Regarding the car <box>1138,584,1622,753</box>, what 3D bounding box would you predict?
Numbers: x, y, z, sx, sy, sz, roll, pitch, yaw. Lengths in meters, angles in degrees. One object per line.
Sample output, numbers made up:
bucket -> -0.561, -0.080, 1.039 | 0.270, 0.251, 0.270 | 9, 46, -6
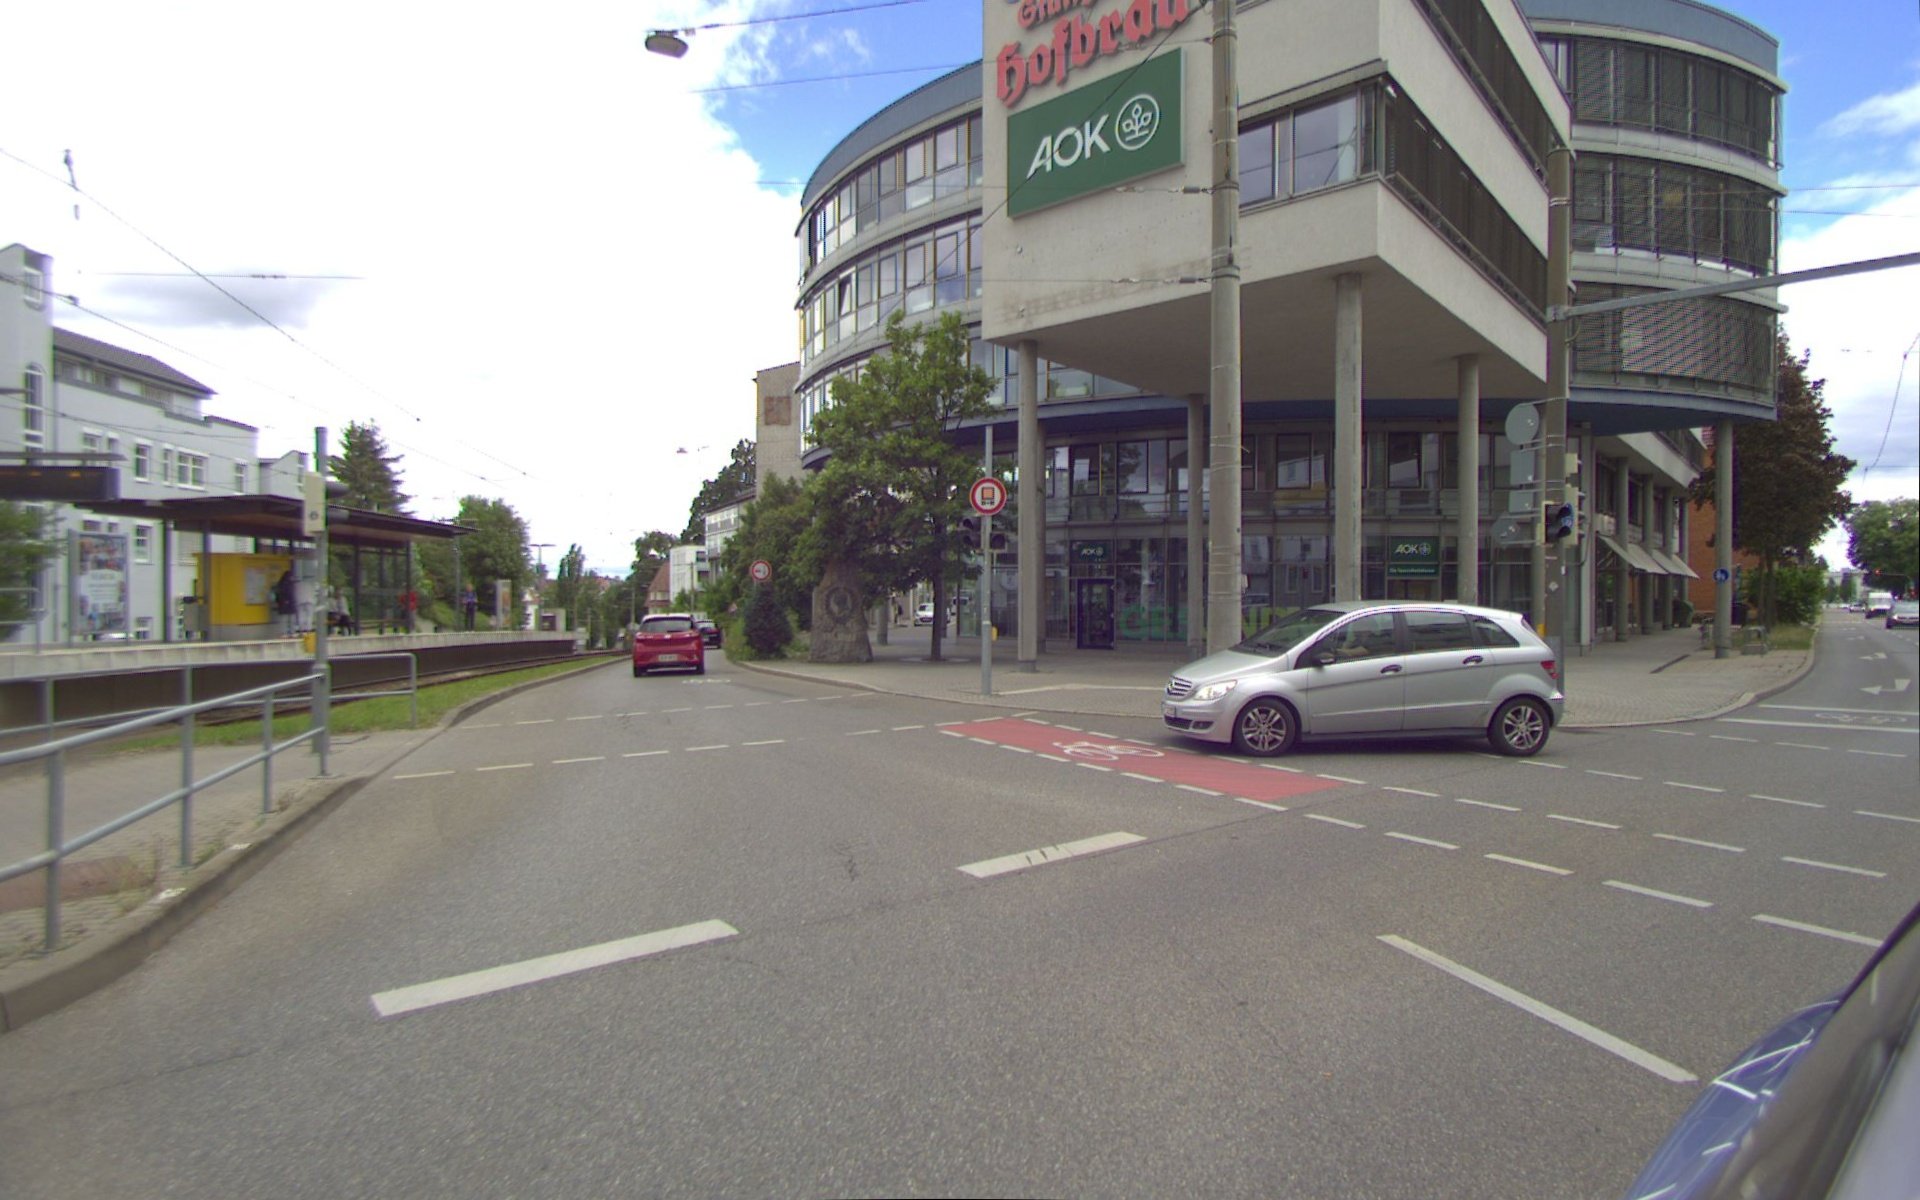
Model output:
car -> 4.466, 0.696, 11.251 | 4.480, 1.566, 2.001 | -2, -1, -4

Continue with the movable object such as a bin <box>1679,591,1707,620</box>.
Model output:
movable object such as a bin -> 39.858, 0.283, 55.029 | 1.120, 1.484, 1.314 | 2, 2, 40

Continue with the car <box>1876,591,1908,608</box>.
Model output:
car -> 90.533, -0.086, 98.351 | 1.957, 1.545, 4.507 | 1, 1, 39

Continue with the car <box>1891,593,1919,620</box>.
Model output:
car -> 56.227, 0.346, 59.633 | 1.959, 1.545, 4.502 | 1, 1, 42

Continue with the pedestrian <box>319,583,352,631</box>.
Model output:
pedestrian -> -16.845, 0.188, 27.323 | 0.558, 1.281, 0.590 | 0, -1, -7

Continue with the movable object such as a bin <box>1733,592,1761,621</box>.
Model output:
movable object such as a bin -> 42.547, 0.343, 54.696 | 1.126, 1.484, 1.392 | 2, 2, 40

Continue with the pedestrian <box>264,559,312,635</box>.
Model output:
pedestrian -> -15.545, -0.063, 23.422 | 0.675, 1.740, 0.790 | 0, -1, -12

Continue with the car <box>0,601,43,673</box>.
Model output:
car -> -27.152, 1.044, 26.435 | 1.953, 1.943, 4.780 | -1, 0, 2

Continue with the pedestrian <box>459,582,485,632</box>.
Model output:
pedestrian -> -17.311, 0.244, 35.905 | 0.773, 1.740, 0.691 | 0, -2, -21

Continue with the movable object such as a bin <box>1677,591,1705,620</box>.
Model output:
movable object such as a bin -> 39.011, 0.300, 53.988 | 1.096, 1.484, 1.314 | 2, 2, 40

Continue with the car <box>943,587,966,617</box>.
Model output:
car -> -0.523, 0.161, 102.394 | 2.125, 2.866, 6.106 | 0, 0, 1

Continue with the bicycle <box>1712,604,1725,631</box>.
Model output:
bicycle -> 32.019, 0.744, 42.720 | 0.360, 1.100, 1.998 | -1, -1, 39

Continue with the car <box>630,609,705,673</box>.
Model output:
car -> -7.286, 0.980, 25.465 | 1.668, 1.471, 4.007 | 0, -1, -14

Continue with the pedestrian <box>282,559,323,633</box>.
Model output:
pedestrian -> -16.158, -0.089, 24.857 | 0.775, 1.797, 0.689 | 1, -2, -38

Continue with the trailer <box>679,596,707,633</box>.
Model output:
trailer -> -19.436, 1.019, 73.627 | 1.844, 2.646, 4.332 | -1, 0, -16

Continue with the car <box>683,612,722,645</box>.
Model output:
car -> -12.564, 1.364, 49.500 | 1.703, 1.428, 4.008 | 1, 0, -13
